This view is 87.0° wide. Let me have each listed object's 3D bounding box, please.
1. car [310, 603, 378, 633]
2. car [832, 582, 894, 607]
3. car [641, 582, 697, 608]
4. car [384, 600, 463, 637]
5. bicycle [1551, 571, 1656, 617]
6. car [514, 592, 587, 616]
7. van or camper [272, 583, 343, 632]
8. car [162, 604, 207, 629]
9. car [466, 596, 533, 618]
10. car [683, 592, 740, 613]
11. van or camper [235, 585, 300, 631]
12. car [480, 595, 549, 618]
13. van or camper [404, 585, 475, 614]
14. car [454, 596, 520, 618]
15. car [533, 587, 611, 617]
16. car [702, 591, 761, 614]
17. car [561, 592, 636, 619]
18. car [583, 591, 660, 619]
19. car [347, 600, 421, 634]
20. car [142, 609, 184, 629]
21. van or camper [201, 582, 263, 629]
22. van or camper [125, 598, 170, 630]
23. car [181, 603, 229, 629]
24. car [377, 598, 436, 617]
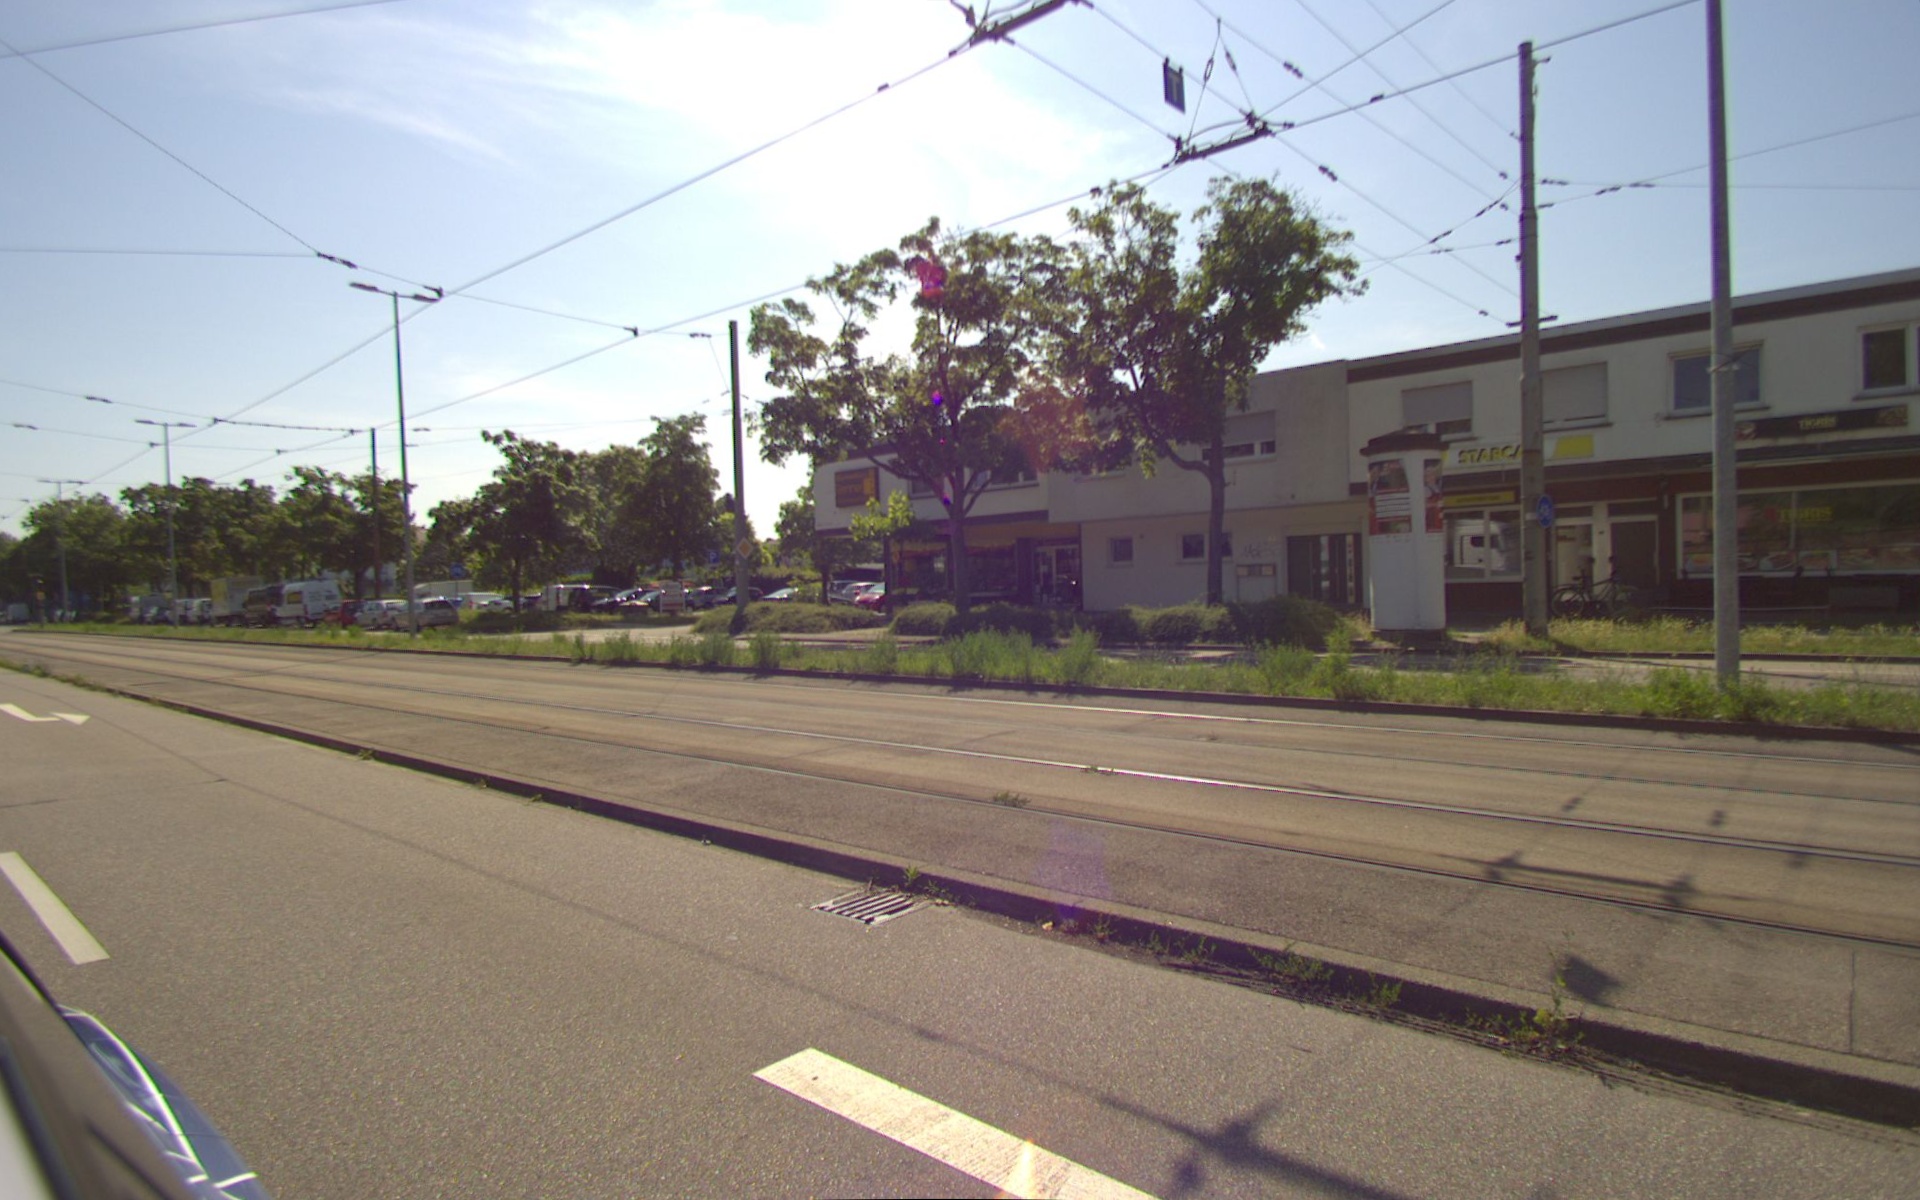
[{"bbox_3d":[-33.197,0.978,54.482,4.229,1.506,1.869,-1,1,41],"label":"car"},{"bbox_3d":[-5.883,-0.359,61.363,1.710,1.372,3.580,-1,1,39],"label":"car"},{"bbox_3d":[-21.395,-0.368,74.431,1.710,1.791,3.580,-1,1,39],"label":"car"},{"bbox_3d":[-25.149,0.840,47.407,4.285,1.506,1.868,-1,4,43],"label":"car"},{"bbox_3d":[14.638,-0.130,23.051,1.910,0.990,0.750,-1,1,41],"label":"bicycle"},{"bbox_3d":[-24.024,0.228,59.456,1.710,1.294,3.580,-1,1,39],"label":"car"},{"bbox_3d":[-37.113,0.425,57.527,4.836,2.652,2.014,-1,1,41],"label":"van or camper"},{"bbox_3d":[-59.748,1.272,77.941,4.229,1.781,1.869,-1,1,41],"label":"car"},{"bbox_3d":[-29.962,0.439,65.970,1.710,1.291,3.580,-1,1,39],"label":"car"},{"bbox_3d":[-17.481,0.184,71.229,1.710,1.372,3.580,-1,1,39],"label":"car"},{"bbox_3d":[-42.499,0.494,62.078,4.836,2.652,2.014,-1,1,41],"label":"van or camper"},{"bbox_3d":[-28.049,0.413,63.786,1.811,1.291,3.580,-1,1,39],"label":"car"},{"bbox_3d":[-53.078,-0.096,103.265,2.299,2.751,6.002,-1,1,43],"label":"van or camper"},{"bbox_3d":[-31.560,0.458,67.626,1.710,1.291,3.580,-1,1,39],"label":"car"},{"bbox_3d":[-22.214,0.119,58.000,1.949,1.581,3.703,-1,1,39],"label":"car"},{"bbox_3d":[-15.642,0.163,69.391,1.710,1.372,3.580,-1,1,39],"label":"car"},{"bbox_3d":[-20.183,0.275,56.577,1.710,1.372,3.580,-1,1,39],"label":"car"},{"bbox_3d":[-18.232,0.250,54.638,1.710,1.372,3.580,-1,1,39],"label":"car"},{"bbox_3d":[-29.018,0.855,50.903,4.282,1.572,1.869,-1,1,41],"label":"car"},{"bbox_3d":[-64.390,1.534,81.733,4.229,1.572,1.869,-1,1,41],"label":"car"},{"bbox_3d":[-48.438,0.393,67.277,5.278,3.007,2.101,-1,1,41],"label":"van or camper"},{"bbox_3d":[-69.463,1.160,86.446,5.450,2.639,2.087,-1,0,41],"label":"van or camper"},{"bbox_3d":[-54.660,1.178,73.221,4.229,1.747,1.869,-1,1,41],"label":"car"},{"bbox_3d":[-42.181,0.593,77.146,1.710,1.291,3.580,-1,1,39],"label":"car"}]
